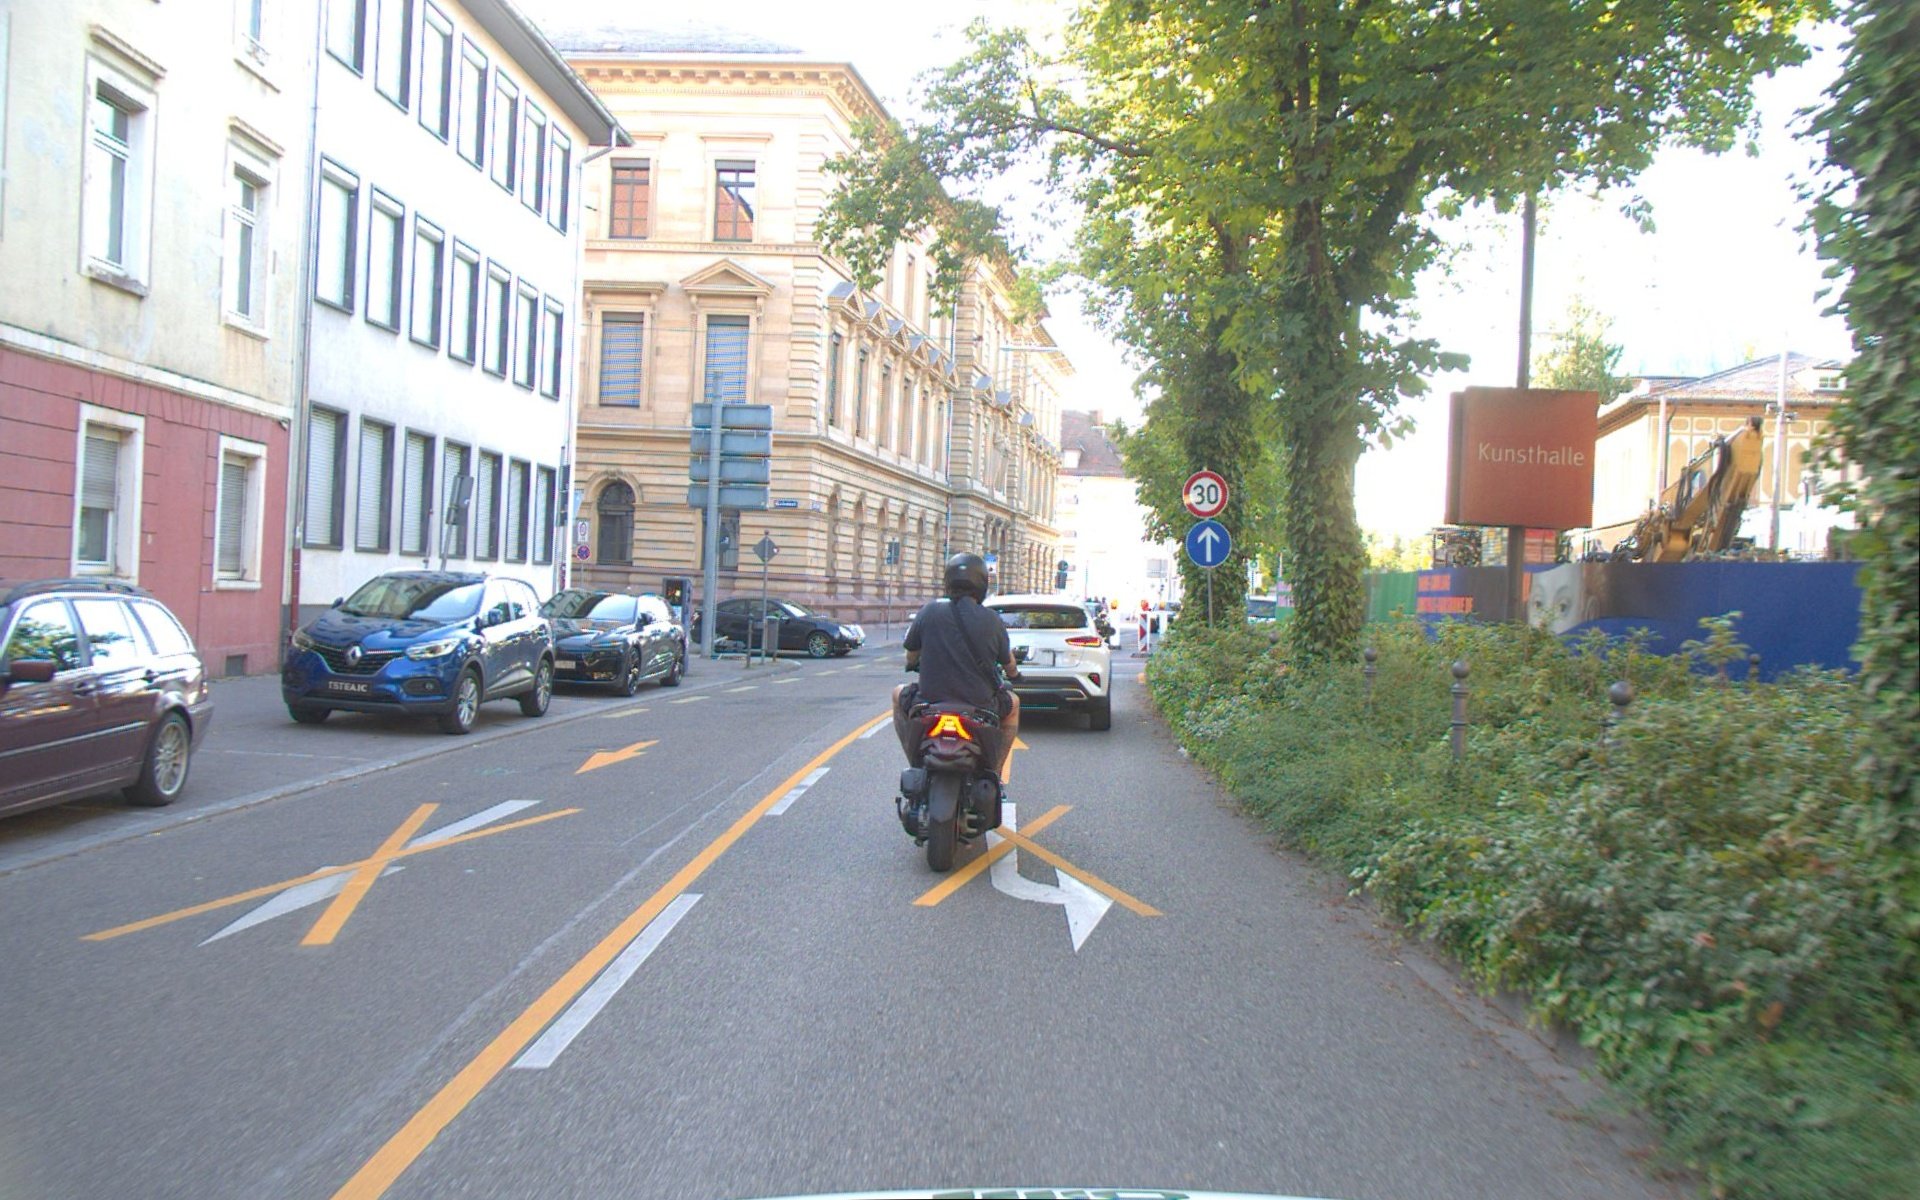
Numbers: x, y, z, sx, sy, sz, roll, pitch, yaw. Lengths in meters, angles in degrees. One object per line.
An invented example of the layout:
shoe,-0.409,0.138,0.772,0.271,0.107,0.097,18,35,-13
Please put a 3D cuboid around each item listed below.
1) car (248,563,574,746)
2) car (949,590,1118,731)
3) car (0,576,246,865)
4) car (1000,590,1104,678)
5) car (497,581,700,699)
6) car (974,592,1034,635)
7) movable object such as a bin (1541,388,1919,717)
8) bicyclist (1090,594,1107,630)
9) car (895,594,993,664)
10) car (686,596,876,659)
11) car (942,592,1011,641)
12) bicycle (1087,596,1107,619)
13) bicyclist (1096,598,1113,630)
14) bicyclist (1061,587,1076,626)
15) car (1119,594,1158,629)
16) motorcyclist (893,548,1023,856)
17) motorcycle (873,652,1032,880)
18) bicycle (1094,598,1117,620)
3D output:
car,-5.753,0.506,17.979,1.893,1.696,4.348,1,0,3
car,0.856,0.633,19.734,1.812,1.506,4.058,0,0,2
car,-5.866,0.616,9.524,1.619,1.506,4.427,1,0,-1
car,1.829,0.604,31.820,1.802,1.489,4.060,3,0,5
car,-5.356,0.545,25.175,1.786,1.530,4.762,3,0,2
car,1.739,0.497,64.229,1.951,1.555,4.187,1,0,6
movable object such as a bin,12.441,-0.708,27.571,3.237,4.618,7.910,1,0,5
bicyclist,6.417,0.548,76.491,0.615,1.642,0.870,1,0,17
car,-0.306,0.625,37.735,1.698,1.446,4.432,-1,0,6
car,-4.305,0.643,40.066,4.221,1.414,1.777,1,0,12
car,0.617,0.539,57.671,1.951,1.594,4.292,1,0,6
bicycle,6.357,0.354,76.456,0.521,1.053,1.908,1,0,17
bicyclist,7.078,0.677,80.858,0.615,1.581,0.732,1,0,22
bicyclist,4.711,0.274,72.009,0.554,1.696,0.835,1,0,9
car,9.343,0.583,86.487,1.951,1.724,4.402,1,0,6
motorcyclist,-0.021,0.564,9.518,0.644,1.679,0.650,3,0,-2
motorcycle,-0.056,0.893,9.480,0.780,1.084,1.725,3,0,-1
bicycle,7.100,0.443,80.783,0.522,1.053,2.035,1,0,22
